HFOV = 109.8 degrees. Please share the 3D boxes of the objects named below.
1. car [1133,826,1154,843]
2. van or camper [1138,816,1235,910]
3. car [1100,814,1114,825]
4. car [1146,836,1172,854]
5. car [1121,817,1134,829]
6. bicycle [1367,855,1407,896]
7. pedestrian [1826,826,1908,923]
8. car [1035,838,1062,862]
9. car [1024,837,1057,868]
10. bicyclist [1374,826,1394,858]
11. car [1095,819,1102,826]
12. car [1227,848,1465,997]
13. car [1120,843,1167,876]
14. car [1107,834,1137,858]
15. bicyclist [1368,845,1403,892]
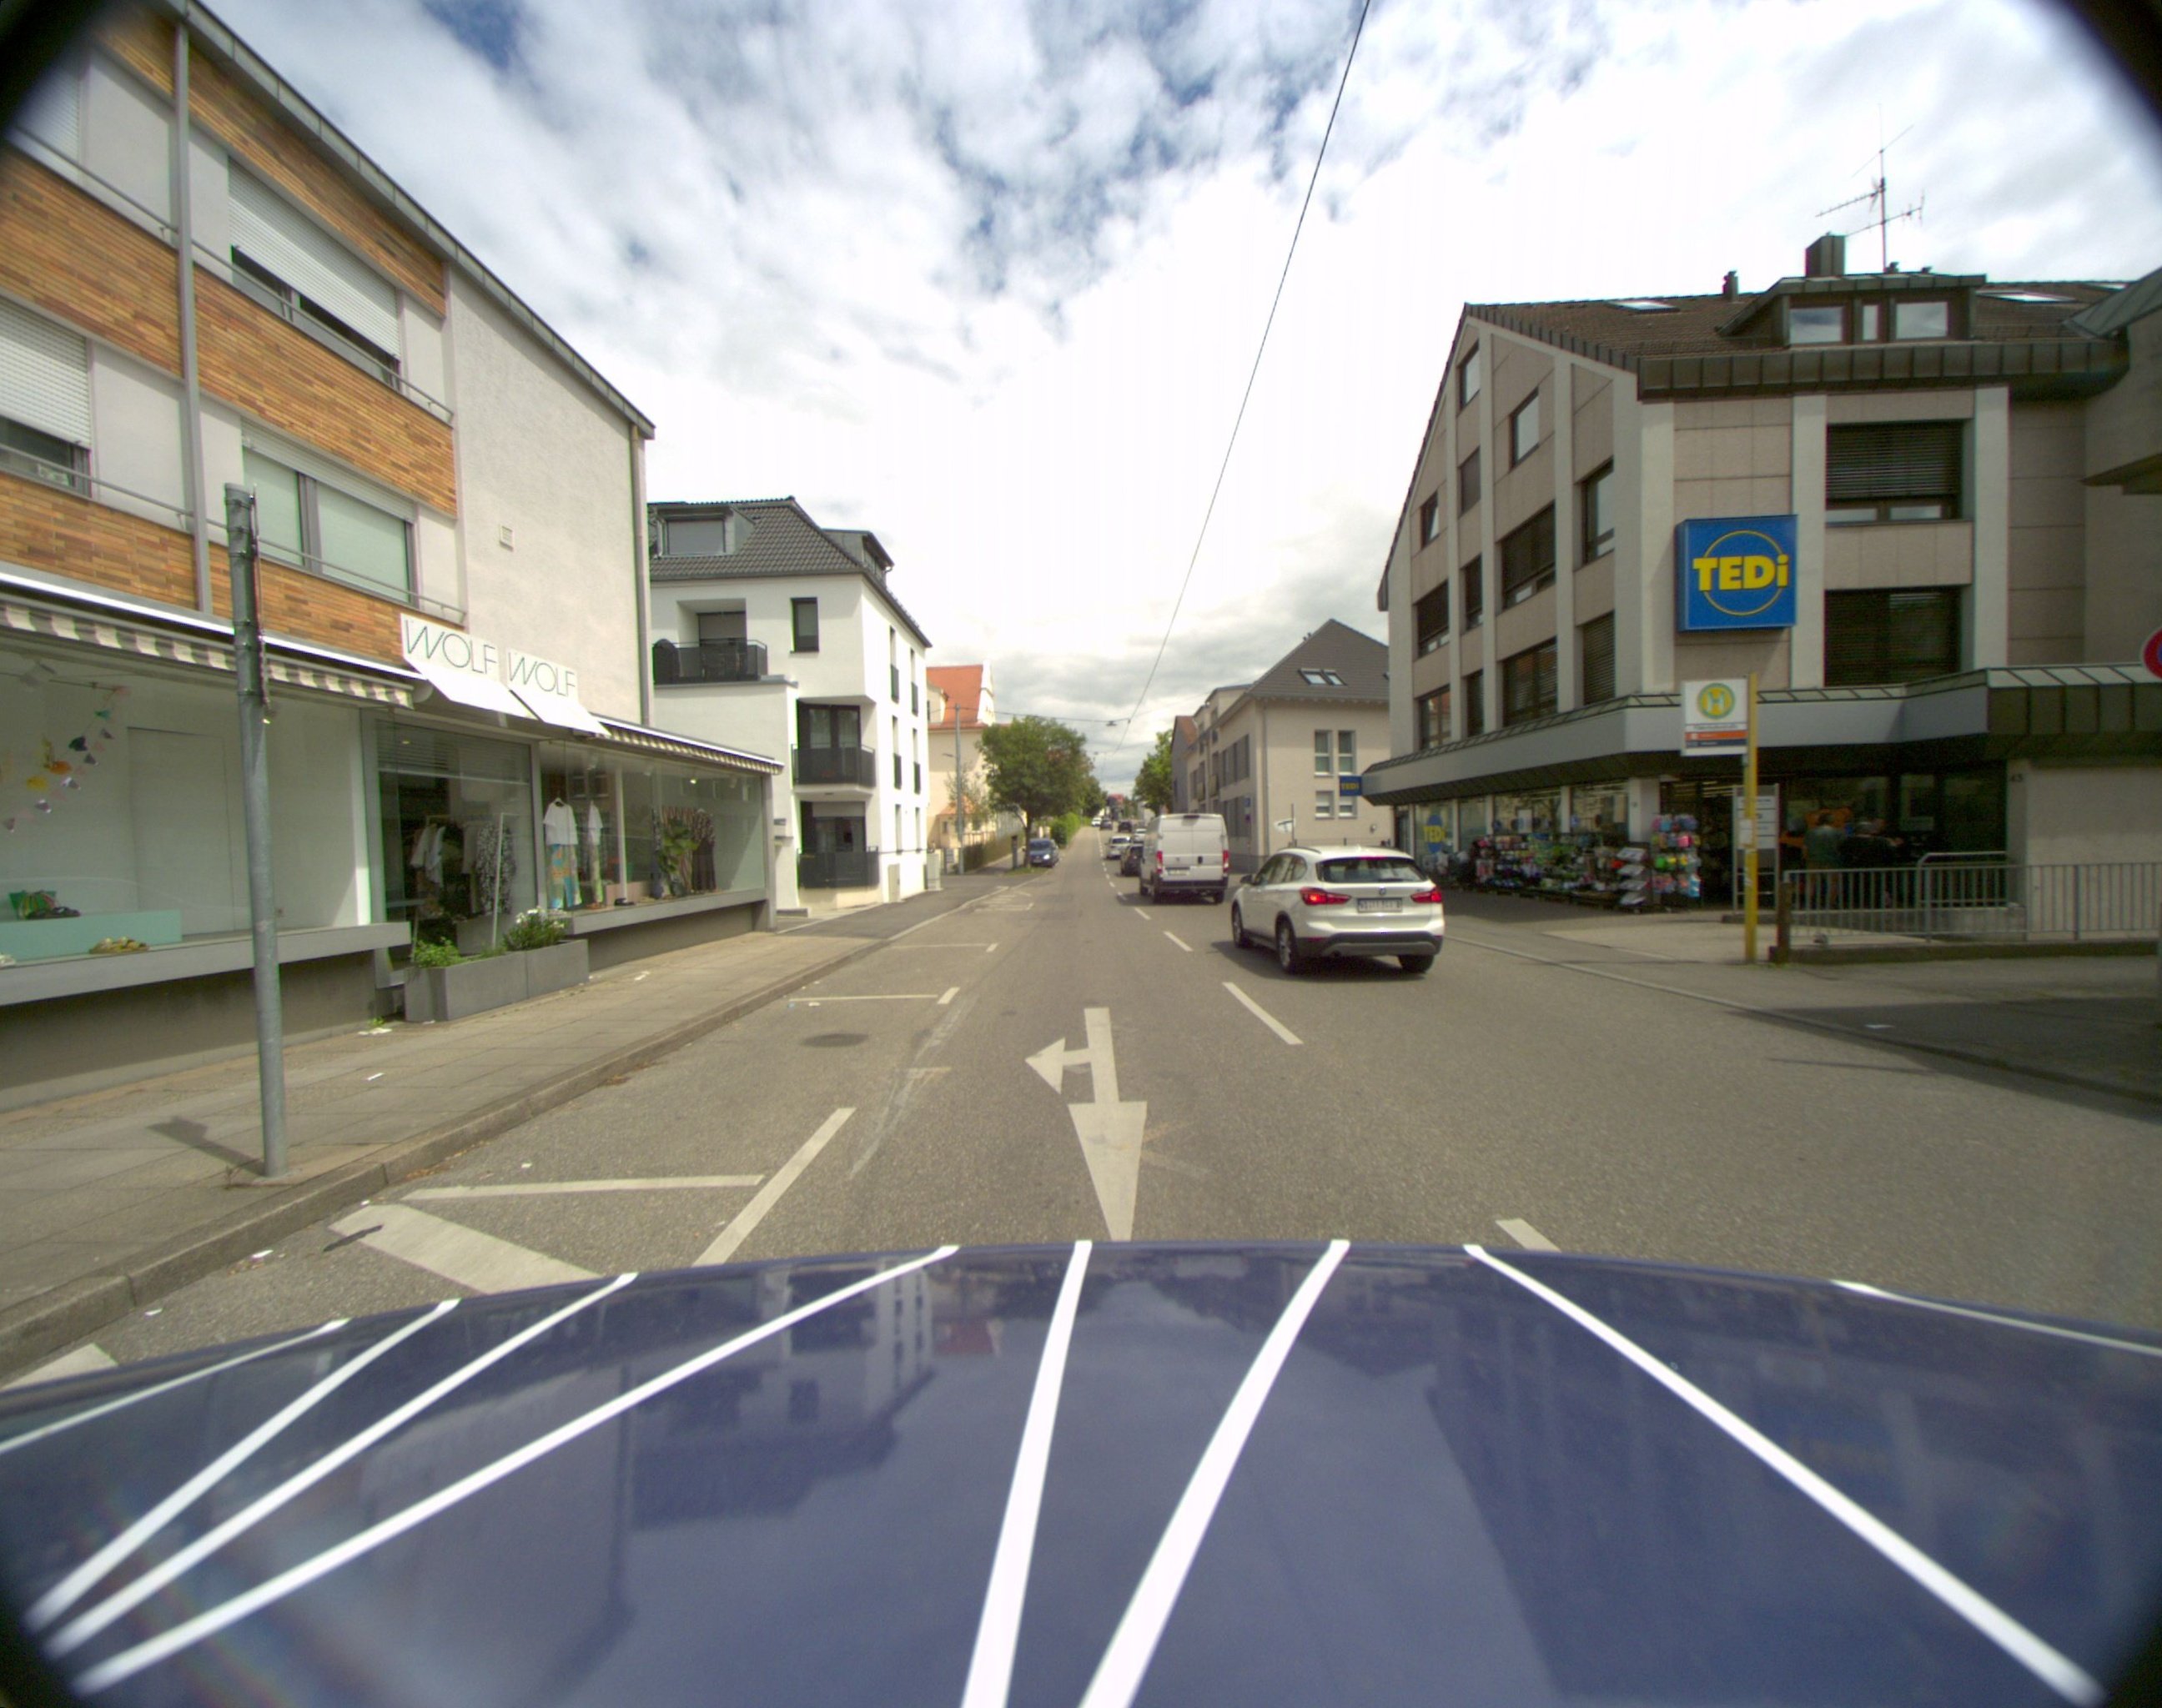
[{"bbox_3d":[6.176,-1.995,75.492,1.737,1.480,4.064,-1,4,1],"label":"car"},{"bbox_3d":[3.090,0.239,23.455,2.154,2.541,5.437,-1,0,-1],"label":"van or camper"},{"bbox_3d":[4.076,-5.350,118.485,1.946,1.709,4.595,-1,2,0],"label":"car"},{"bbox_3d":[5.903,-0.664,57.780,1.665,1.322,3.473,-1,1,1],"label":"car"},{"bbox_3d":[6.626,-4.384,108.318,1.672,1.546,3.963,-1,4,1],"label":"car"},{"bbox_3d":[9.038,0.619,22.514,0.444,1.044,1.733,-5,2,1],"label":"bicycle"},{"bbox_3d":[13.282,0.327,12.865,0.573,1.550,0.772,-3,3,0],"label":"pedestrian"},{"bbox_3d":[-2.229,-0.341,53.116,1.677,1.511,3.668,-1,2,1],"label":"car"},{"bbox_3d":[-2.448,-0.161,46.960,1.698,1.734,4.158,-1,2,1],"label":"car"},{"bbox_3d":[12.057,-0.469,30.229,0.640,1.235,0.427,0,4,34],"label":"bicyclist"},{"bbox_3d":[3.373,-6.297,150.562,1.298,1.148,2.982,-3,1,1],"label":"car"},{"bbox_3d":[3.353,0.746,10.570,1.785,1.630,4.219,0,1,-1],"label":"car"},{"bbox_3d":[2.985,0.217,37.223,1.796,1.502,3.843,-1,1,-3],"label":"car"},{"bbox_3d":[2.849,-0.580,53.735,1.779,1.604,4.118,0,2,-1],"label":"car"},{"bbox_3d":[9.047,0.420,22.571,0.669,1.330,0.761,-5,3,1],"label":"bicyclist"}]
